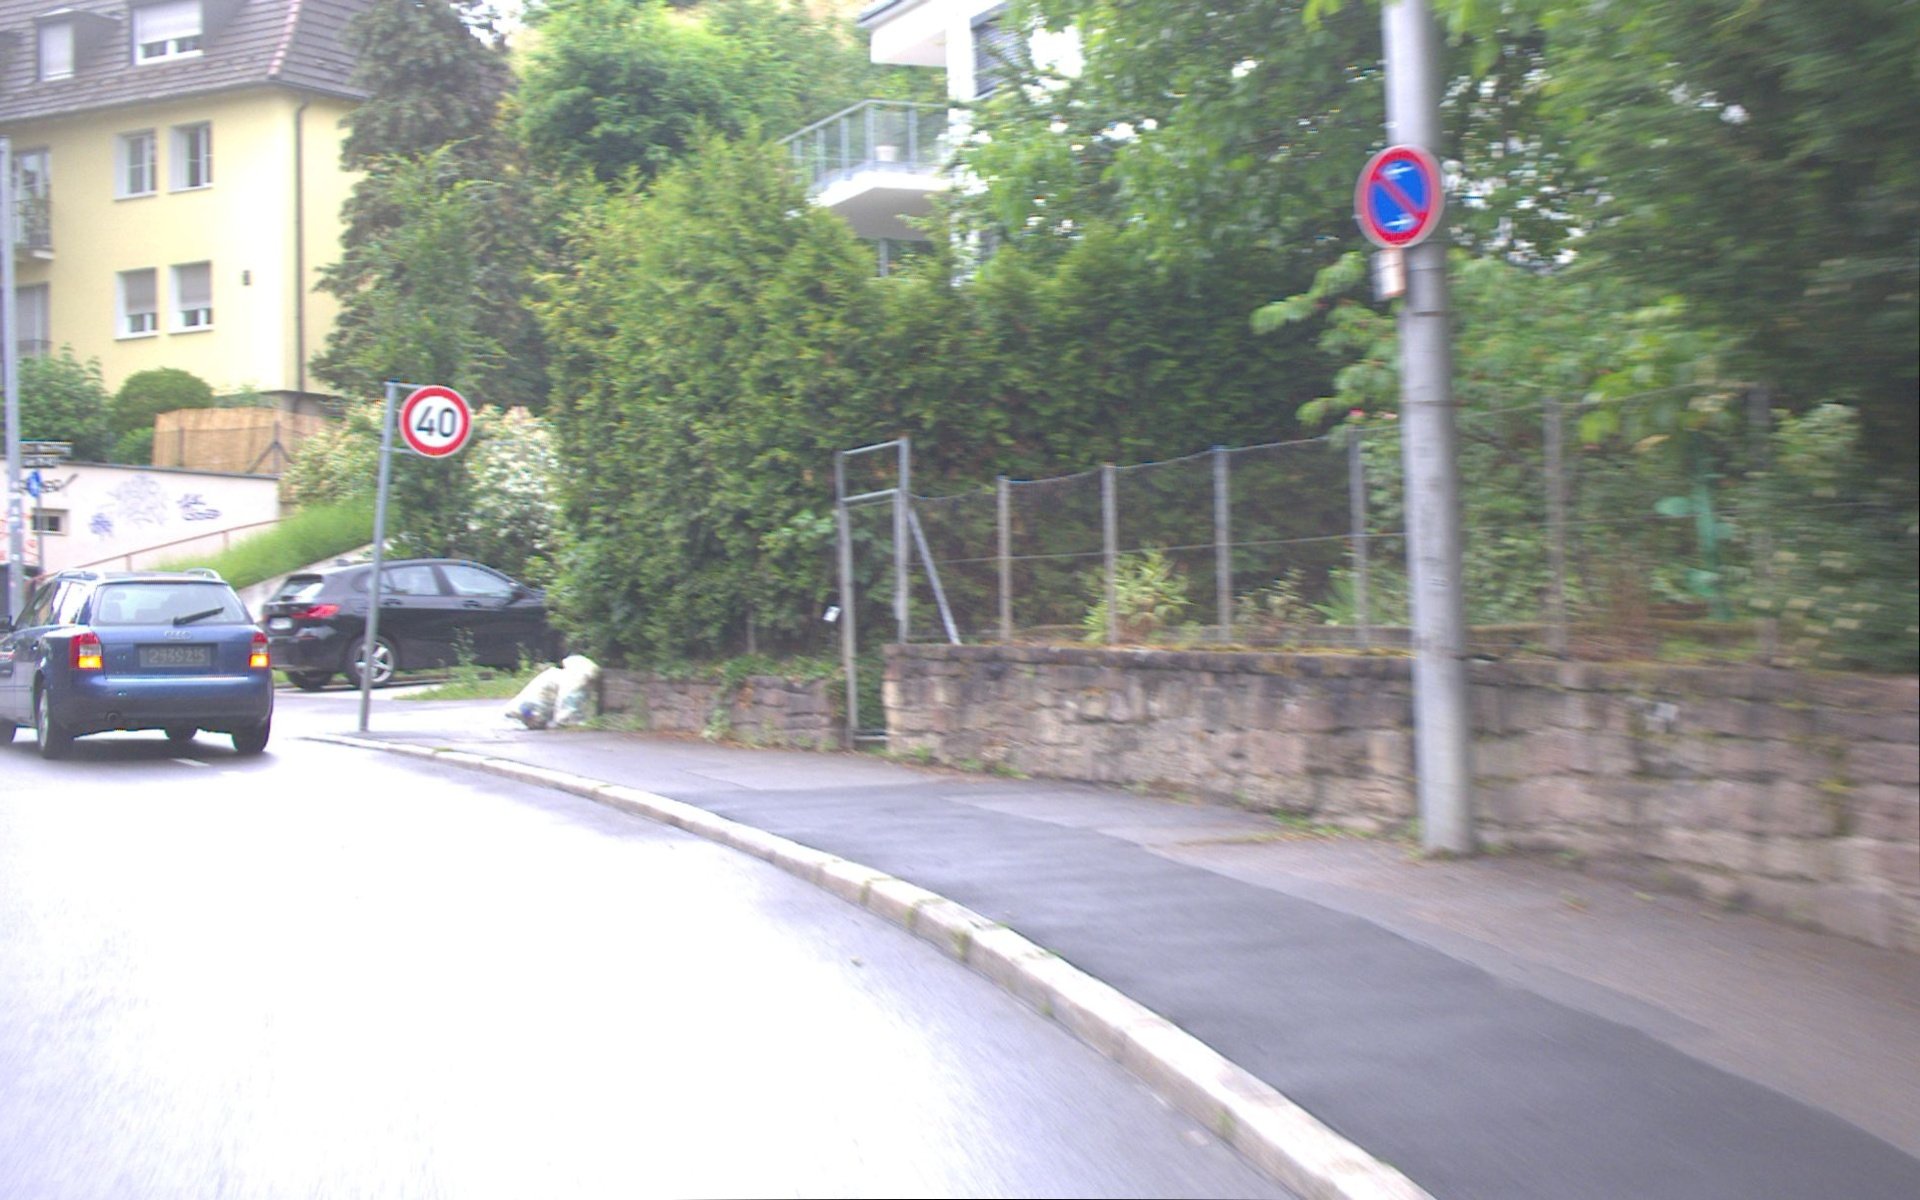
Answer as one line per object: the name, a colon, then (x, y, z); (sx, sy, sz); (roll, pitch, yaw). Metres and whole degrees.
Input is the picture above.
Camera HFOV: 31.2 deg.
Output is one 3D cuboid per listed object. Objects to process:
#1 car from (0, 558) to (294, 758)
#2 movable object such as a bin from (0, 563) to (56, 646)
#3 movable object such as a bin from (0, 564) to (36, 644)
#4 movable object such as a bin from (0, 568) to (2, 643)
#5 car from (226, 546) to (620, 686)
car: (-6.741, 0.398, 27.655); (1.853, 1.409, 4.362); (-1, 2, -23)
movable object such as a bin: (-14.014, 0.057, 51.472); (0.580, 1.219, 0.703); (0, 2, 36)
movable object such as a bin: (-14.574, 0.059, 51.937); (0.786, 1.181, 0.860); (0, 2, 36)
movable object such as a bin: (-15.212, 0.092, 52.411); (0.798, 1.138, 0.860); (0, 2, 36)
car: (-6.163, 0.152, 39.695); (4.170, 1.503, 1.740); (-1, 1, -39)
